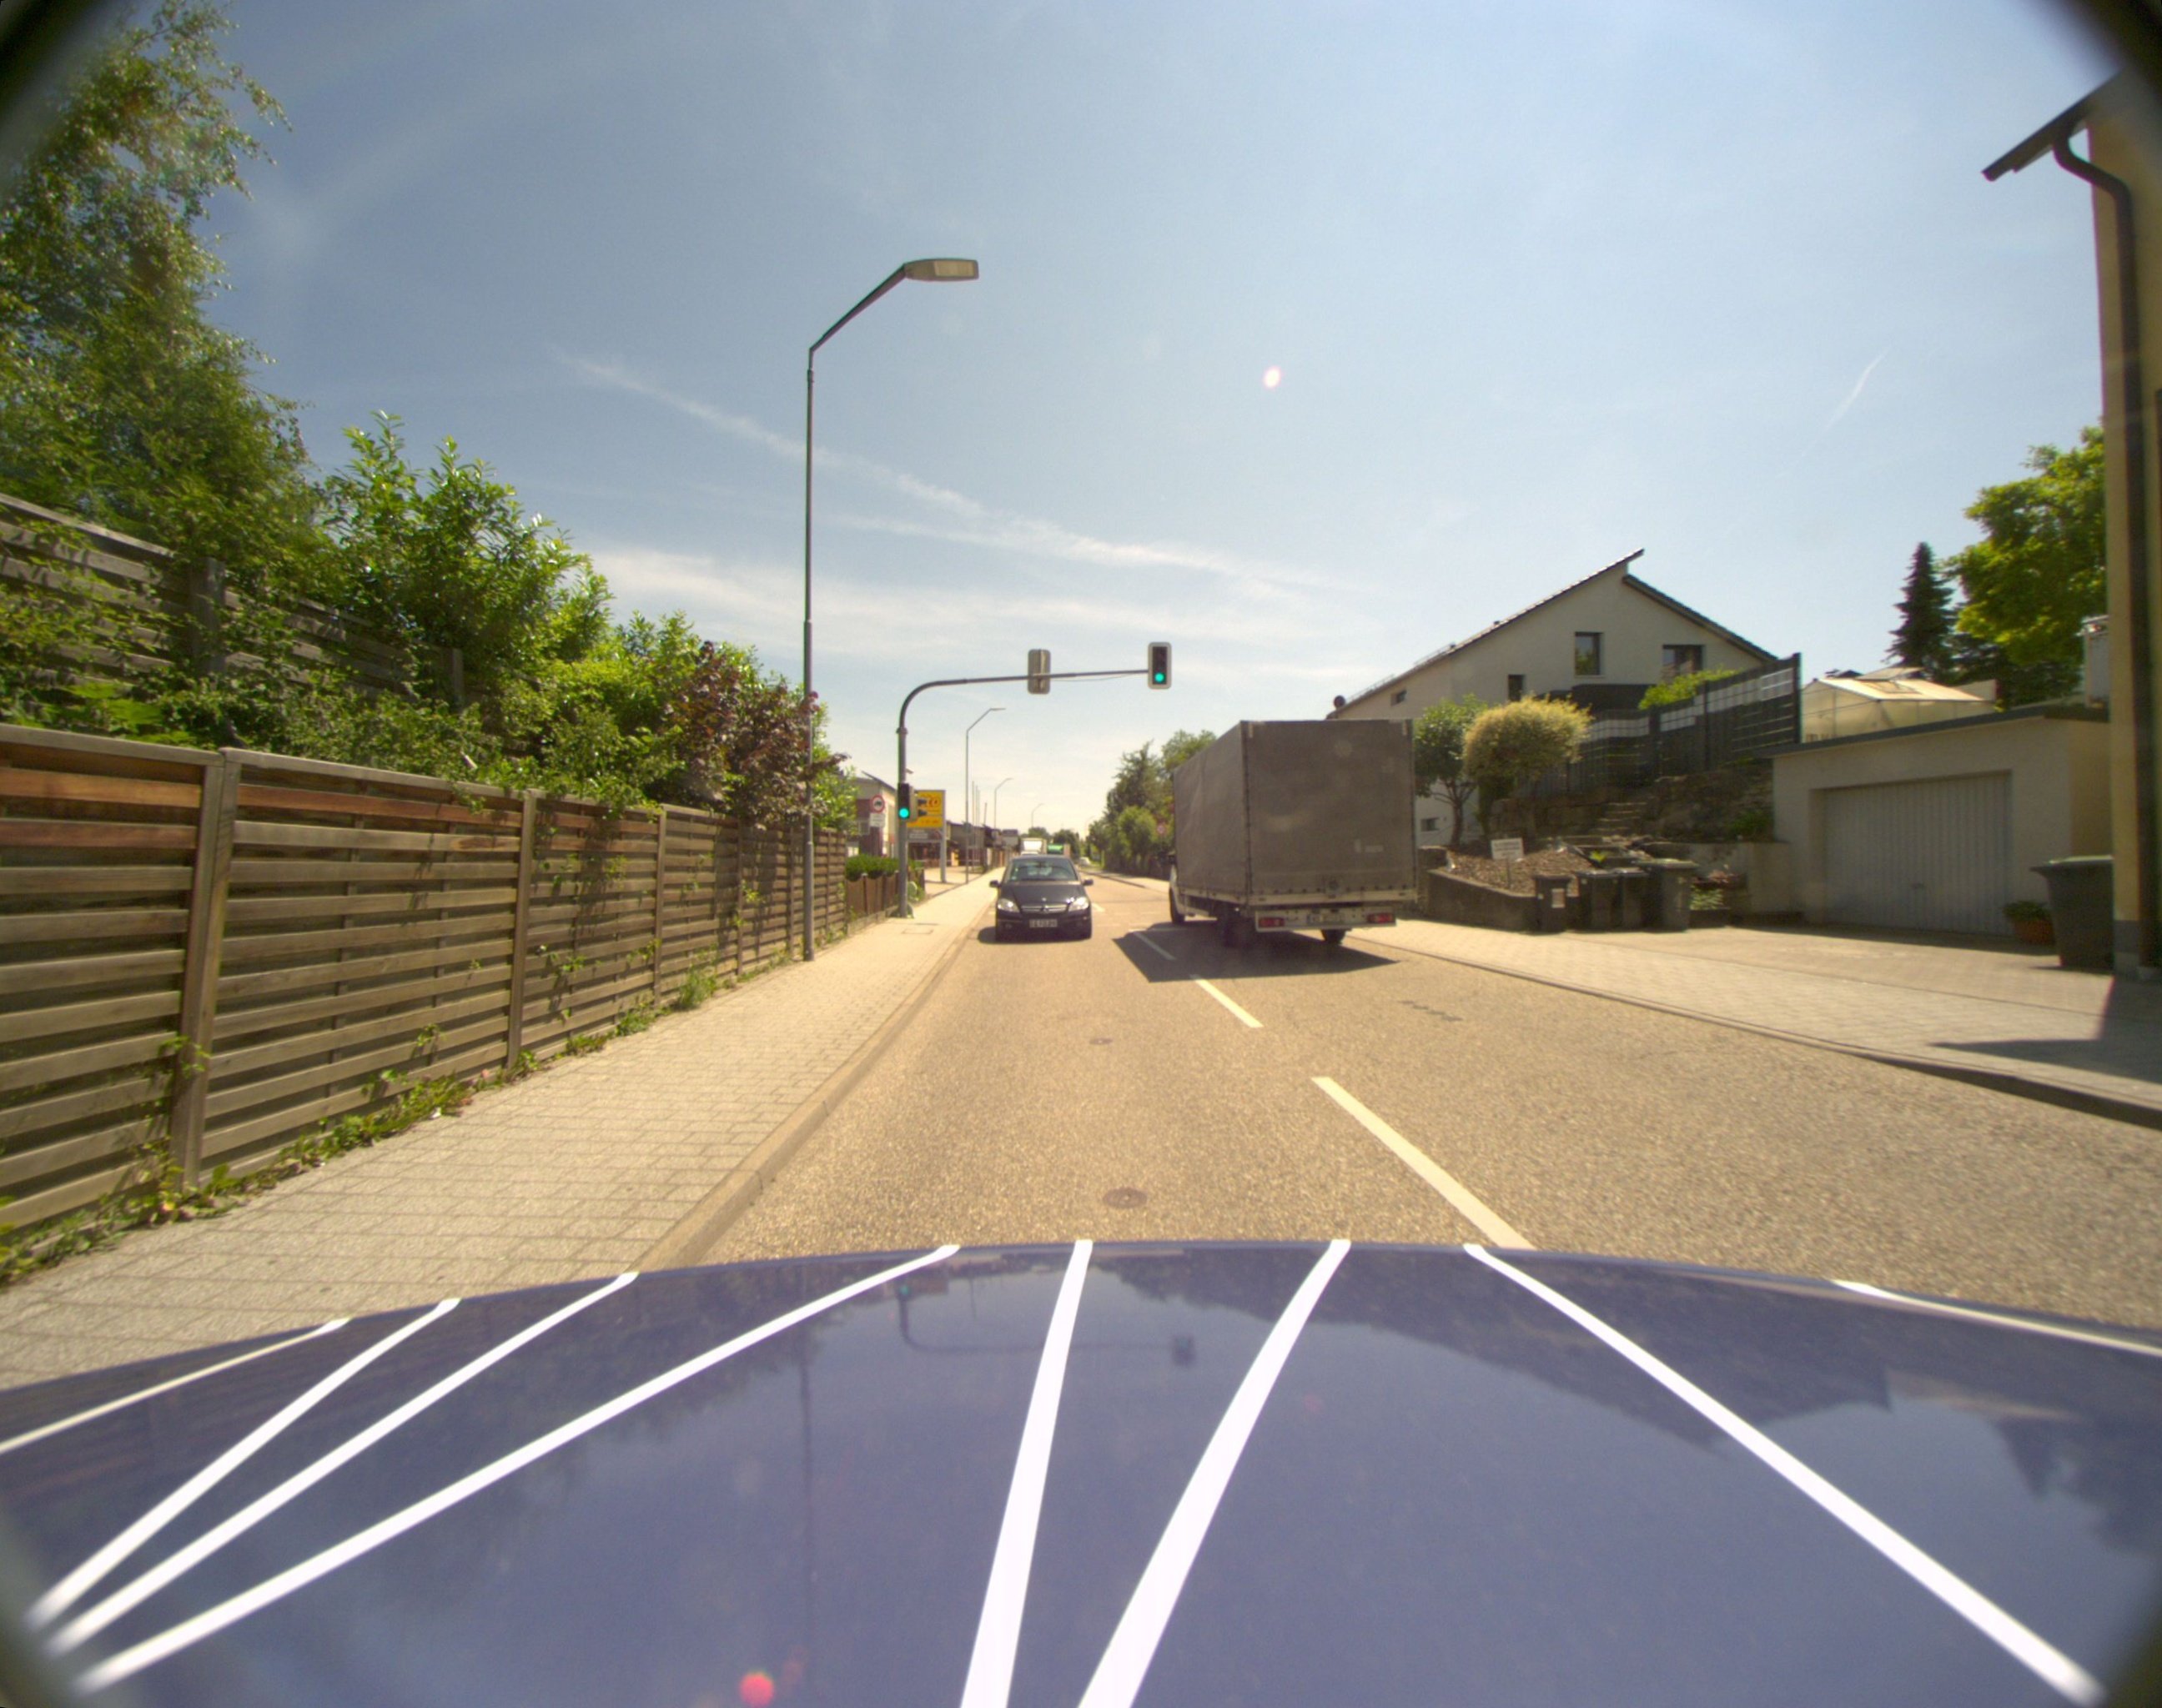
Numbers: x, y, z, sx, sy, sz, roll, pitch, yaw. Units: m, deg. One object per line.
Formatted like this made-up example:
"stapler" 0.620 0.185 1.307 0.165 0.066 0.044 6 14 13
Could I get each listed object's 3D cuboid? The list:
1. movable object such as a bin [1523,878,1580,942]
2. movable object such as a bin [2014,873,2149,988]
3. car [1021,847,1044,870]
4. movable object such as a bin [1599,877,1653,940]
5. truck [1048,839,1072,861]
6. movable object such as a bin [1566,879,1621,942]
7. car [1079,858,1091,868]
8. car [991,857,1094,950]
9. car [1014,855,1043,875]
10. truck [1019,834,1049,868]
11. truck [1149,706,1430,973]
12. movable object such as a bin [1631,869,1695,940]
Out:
"movable object such as a bin" 7.284 0.858 11.774 0.502 0.942 0.553 -1 1 -4
"movable object such as a bin" 9.644 0.716 7.344 0.502 1.037 0.607 -1 1 -4
"car" -4.286 0.397 67.817 1.868 1.897 5.036 -2 0 -2
"movable object such as a bin" 8.502 0.841 11.862 0.448 0.932 0.531 -1 1 -4
"truck" -3.136 -0.564 117.212 2.851 3.214 8.166 3 0 4
"movable object such as a bin" 7.968 0.863 11.821 0.448 0.923 0.561 -2 1 -4
"car" 0.681 1.413 118.216 1.827 1.516 3.558 -1 0 1
"car" -0.802 0.877 15.539 1.765 1.583 4.196 -2 0 -3
"car" -3.853 0.807 55.388 1.898 1.368 3.998 -1 0 -7
"truck" -5.459 -0.306 88.809 3.204 3.578 8.304 3 0 -3
"truck" 3.068 -0.196 13.691 2.473 3.348 7.614 -3 0 -3
"movable object such as a bin" 9.043 0.763 11.814 0.472 1.049 0.634 -2 1 -4
